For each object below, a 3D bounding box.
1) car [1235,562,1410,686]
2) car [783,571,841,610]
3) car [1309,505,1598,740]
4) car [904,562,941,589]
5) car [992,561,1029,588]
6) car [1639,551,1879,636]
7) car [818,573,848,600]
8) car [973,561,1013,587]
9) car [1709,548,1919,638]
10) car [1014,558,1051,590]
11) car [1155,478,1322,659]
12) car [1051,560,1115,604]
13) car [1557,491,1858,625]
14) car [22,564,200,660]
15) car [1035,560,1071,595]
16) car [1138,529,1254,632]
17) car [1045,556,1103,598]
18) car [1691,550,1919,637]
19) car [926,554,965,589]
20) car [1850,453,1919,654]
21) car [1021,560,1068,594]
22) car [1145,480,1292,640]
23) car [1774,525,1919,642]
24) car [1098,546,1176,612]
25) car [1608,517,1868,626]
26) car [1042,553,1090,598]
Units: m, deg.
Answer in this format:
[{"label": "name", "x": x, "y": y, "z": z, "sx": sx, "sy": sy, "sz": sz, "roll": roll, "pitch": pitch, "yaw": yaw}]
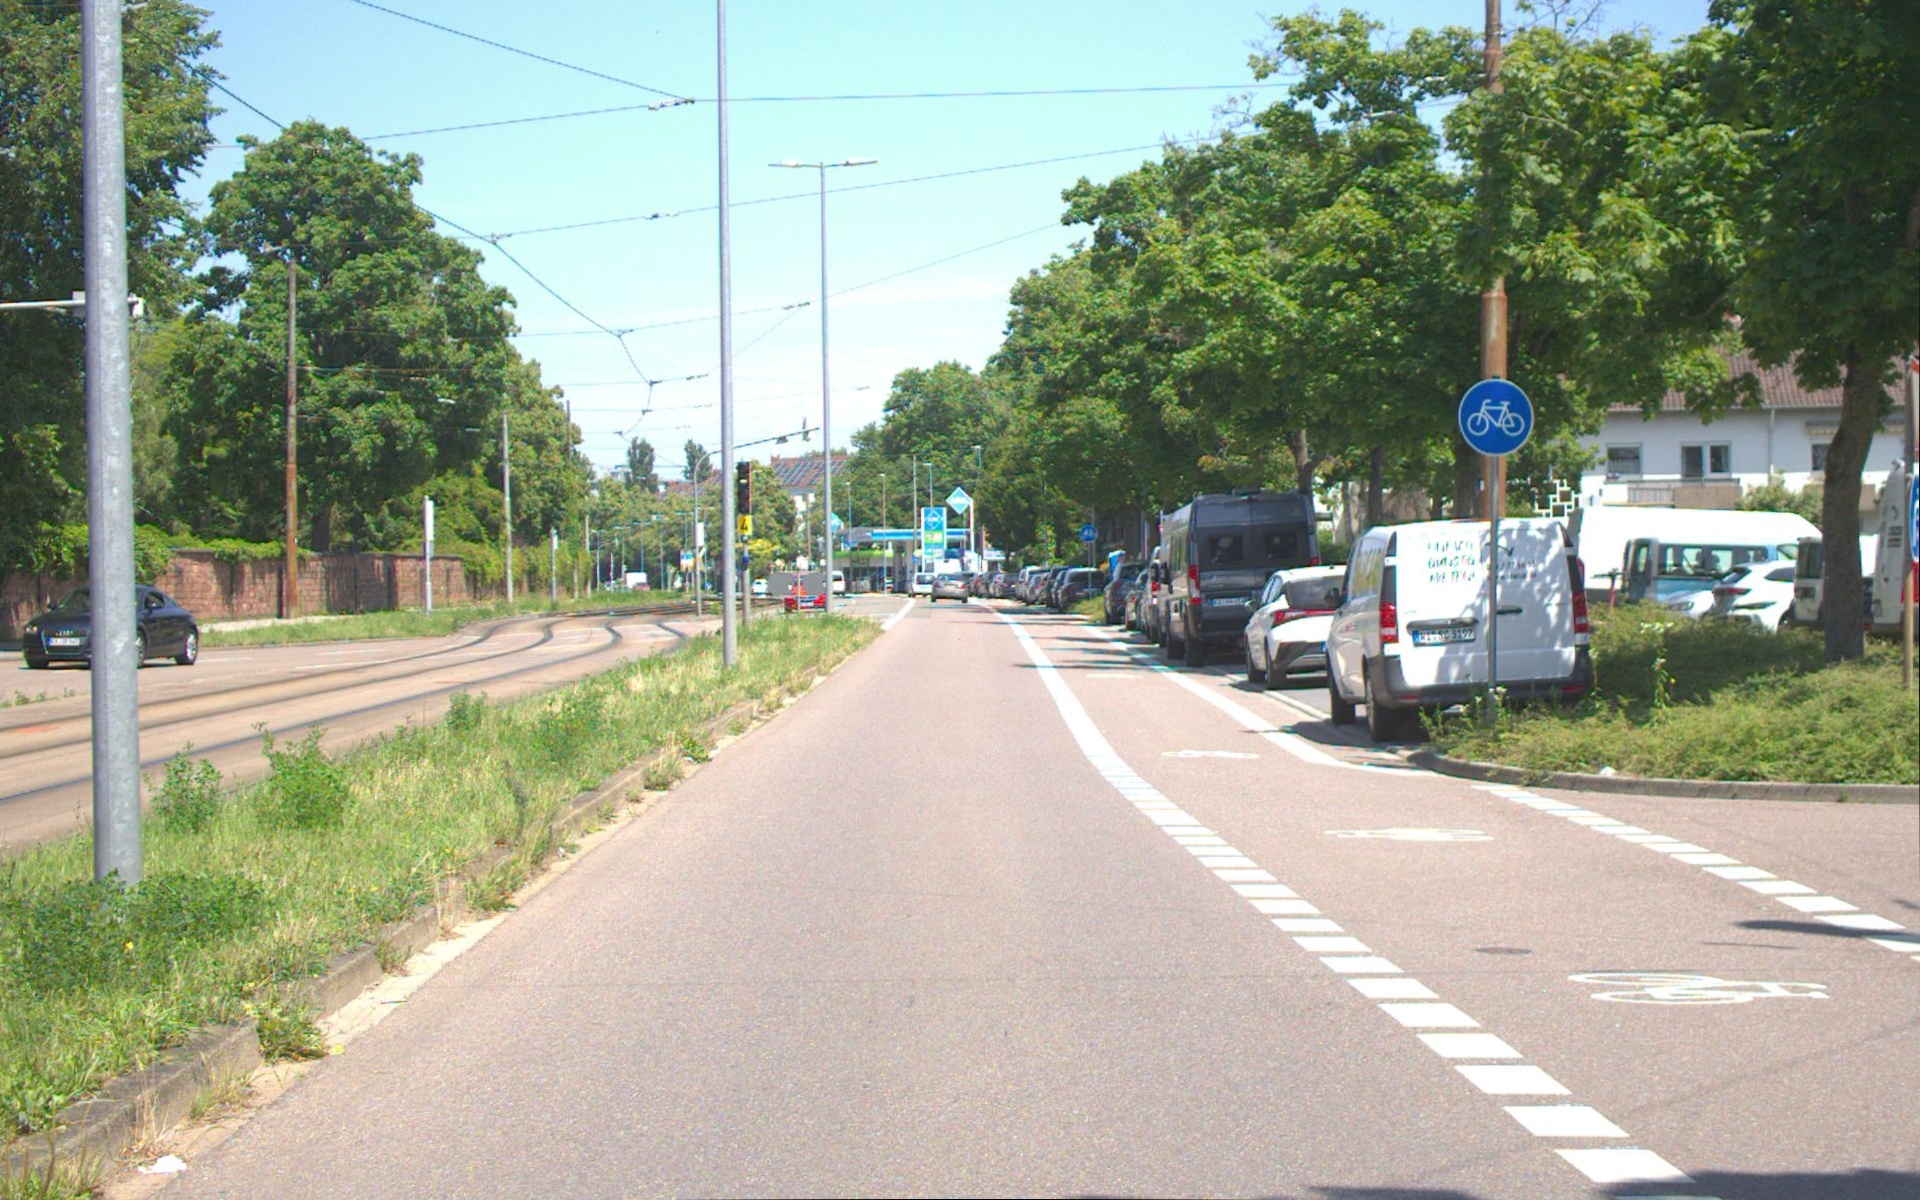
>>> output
[{"label": "car", "x": 4.529, "y": 0.271, "z": 43.487, "sx": 1.722, "sy": 1.423, "sz": 4.209, "roll": -2, "pitch": 1, "yaw": 0}, {"label": "car", "x": -5.533, "y": -0.365, "z": 128.828, "sx": 1.706, "sy": 1.409, "sz": 4.281, "roll": 0, "pitch": 1, "yaw": 4}, {"label": "car", "x": 4.447, "y": 0.154, "z": 31.730, "sx": 1.879, "sy": 1.910, "sz": 5.124, "roll": -3, "pitch": 1, "yaw": 1}, {"label": "car", "x": -2.335, "y": -1.520, "z": 213.119, "sx": 1.755, "sy": 1.625, "sz": 4.325, "roll": -3, "pitch": 1, "yaw": -8}, {"label": "car", "x": 3.014, "y": -1.529, "z": 205.183, "sx": 1.706, "sy": 1.487, "sz": 5.039, "roll": -3, "pitch": 1, "yaw": -4}, {"label": "car", "x": 14.548, "y": -0.130, "z": 62.704, "sx": 3.885, "sy": 1.401, "sz": 1.728, "roll": 2, "pitch": 1, "yaw": -5}, {"label": "car", "x": -9.685, "y": -1.031, "z": 262.232, "sx": 1.993, "sy": 2.007, "sz": 4.001, "roll": 2, "pitch": 0, "yaw": -5}, {"label": "car", "x": 2.057, "y": -1.634, "z": 216.365, "sx": 1.706, "sy": 1.557, "sz": 4.325, "roll": -3, "pitch": 1, "yaw": -10}, {"label": "car", "x": 14.900, "y": -0.104, "z": 57.522, "sx": 4.276, "sy": 1.401, "sz": 1.728, "roll": 2, "pitch": 1, "yaw": -2}, {"label": "car", "x": 3.954, "y": -1.435, "z": 188.326, "sx": 1.840, "sy": 1.688, "sz": 4.778, "roll": -3, "pitch": 1, "yaw": 0}, {"label": "car", "x": 4.358, "y": -0.519, "z": 54.751, "sx": 1.997, "sy": 2.627, "sz": 6.079, "roll": -3, "pitch": 1, "yaw": 0}, {"label": "car", "x": 4.366, "y": -0.655, "z": 122.634, "sx": 1.840, "sy": 1.431, "sz": 4.825, "roll": -3, "pitch": 1, "yaw": -2}, {"label": "car", "x": 14.866, "y": -0.839, "z": 68.598, "sx": 5.490, "sy": 2.451, "sz": 2.095, "roll": 2, "pitch": 0, "yaw": 1}, {"label": "car", "x": -13.748, "y": 0.167, "z": 55.864, "sx": 1.756, "sy": 1.444, "sz": 4.123, "roll": 1, "pitch": 1, "yaw": 1}, {"label": "car", "x": 4.375, "y": -1.078, "z": 162.156, "sx": 1.519, "sy": 1.524, "sz": 3.816, "roll": -3, "pitch": 1, "yaw": 0}, {"label": "car", "x": 4.649, "y": -0.411, "z": 68.389, "sx": 1.998, "sy": 1.872, "sz": 5.275, "roll": -3, "pitch": 1, "yaw": 2}, {"label": "car", "x": 4.438, "y": -0.905, "z": 134.599, "sx": 1.840, "sy": 1.524, "sz": 4.354, "roll": -3, "pitch": 1, "yaw": -3}, {"label": "car", "x": 15.008, "y": -0.117, "z": 60.380, "sx": 3.886, "sy": 1.401, "sz": 1.728, "roll": 2, "pitch": 1, "yaw": -2}, {"label": "car", "x": -0.689, "y": -1.401, "z": 167.819, "sx": 1.755, "sy": 1.625, "sz": 4.324, "roll": -3, "pitch": 1, "yaw": 1}, {"label": "car", "x": 14.930, "y": -0.499, "z": 44.186, "sx": 6.341, "sy": 2.520, "sz": 2.263, "roll": 2, "pitch": 0, "yaw": 3}, {"label": "car", "x": 4.113, "y": -1.116, "z": 167.164, "sx": 1.840, "sy": 1.524, "sz": 4.966, "roll": -3, "pitch": 1, "yaw": -3}, {"label": "car", "x": 4.577, "y": -0.728, "z": 61.685, "sx": 1.997, "sy": 2.627, "sz": 6.143, "roll": -3, "pitch": 1, "yaw": 0}, {"label": "car", "x": 15.129, "y": -0.238, "z": 54.647, "sx": 3.778, "sy": 1.778, "sz": 1.955, "roll": 2, "pitch": 1, "yaw": -4}, {"label": "car", "x": 4.652, "y": -0.537, "z": 90.993, "sx": 1.712, "sy": 1.627, "sz": 4.708, "roll": -3, "pitch": 0, "yaw": 0}, {"label": "car", "x": 14.811, "y": -0.542, "z": 65.606, "sx": 4.405, "sy": 1.902, "sz": 1.955, "roll": 2, "pitch": 0, "yaw": -4}, {"label": "car", "x": 4.315, "y": -1.013, "z": 140.235, "sx": 1.841, "sy": 1.700, "sz": 4.626, "roll": -3, "pitch": 1, "yaw": 1}]
